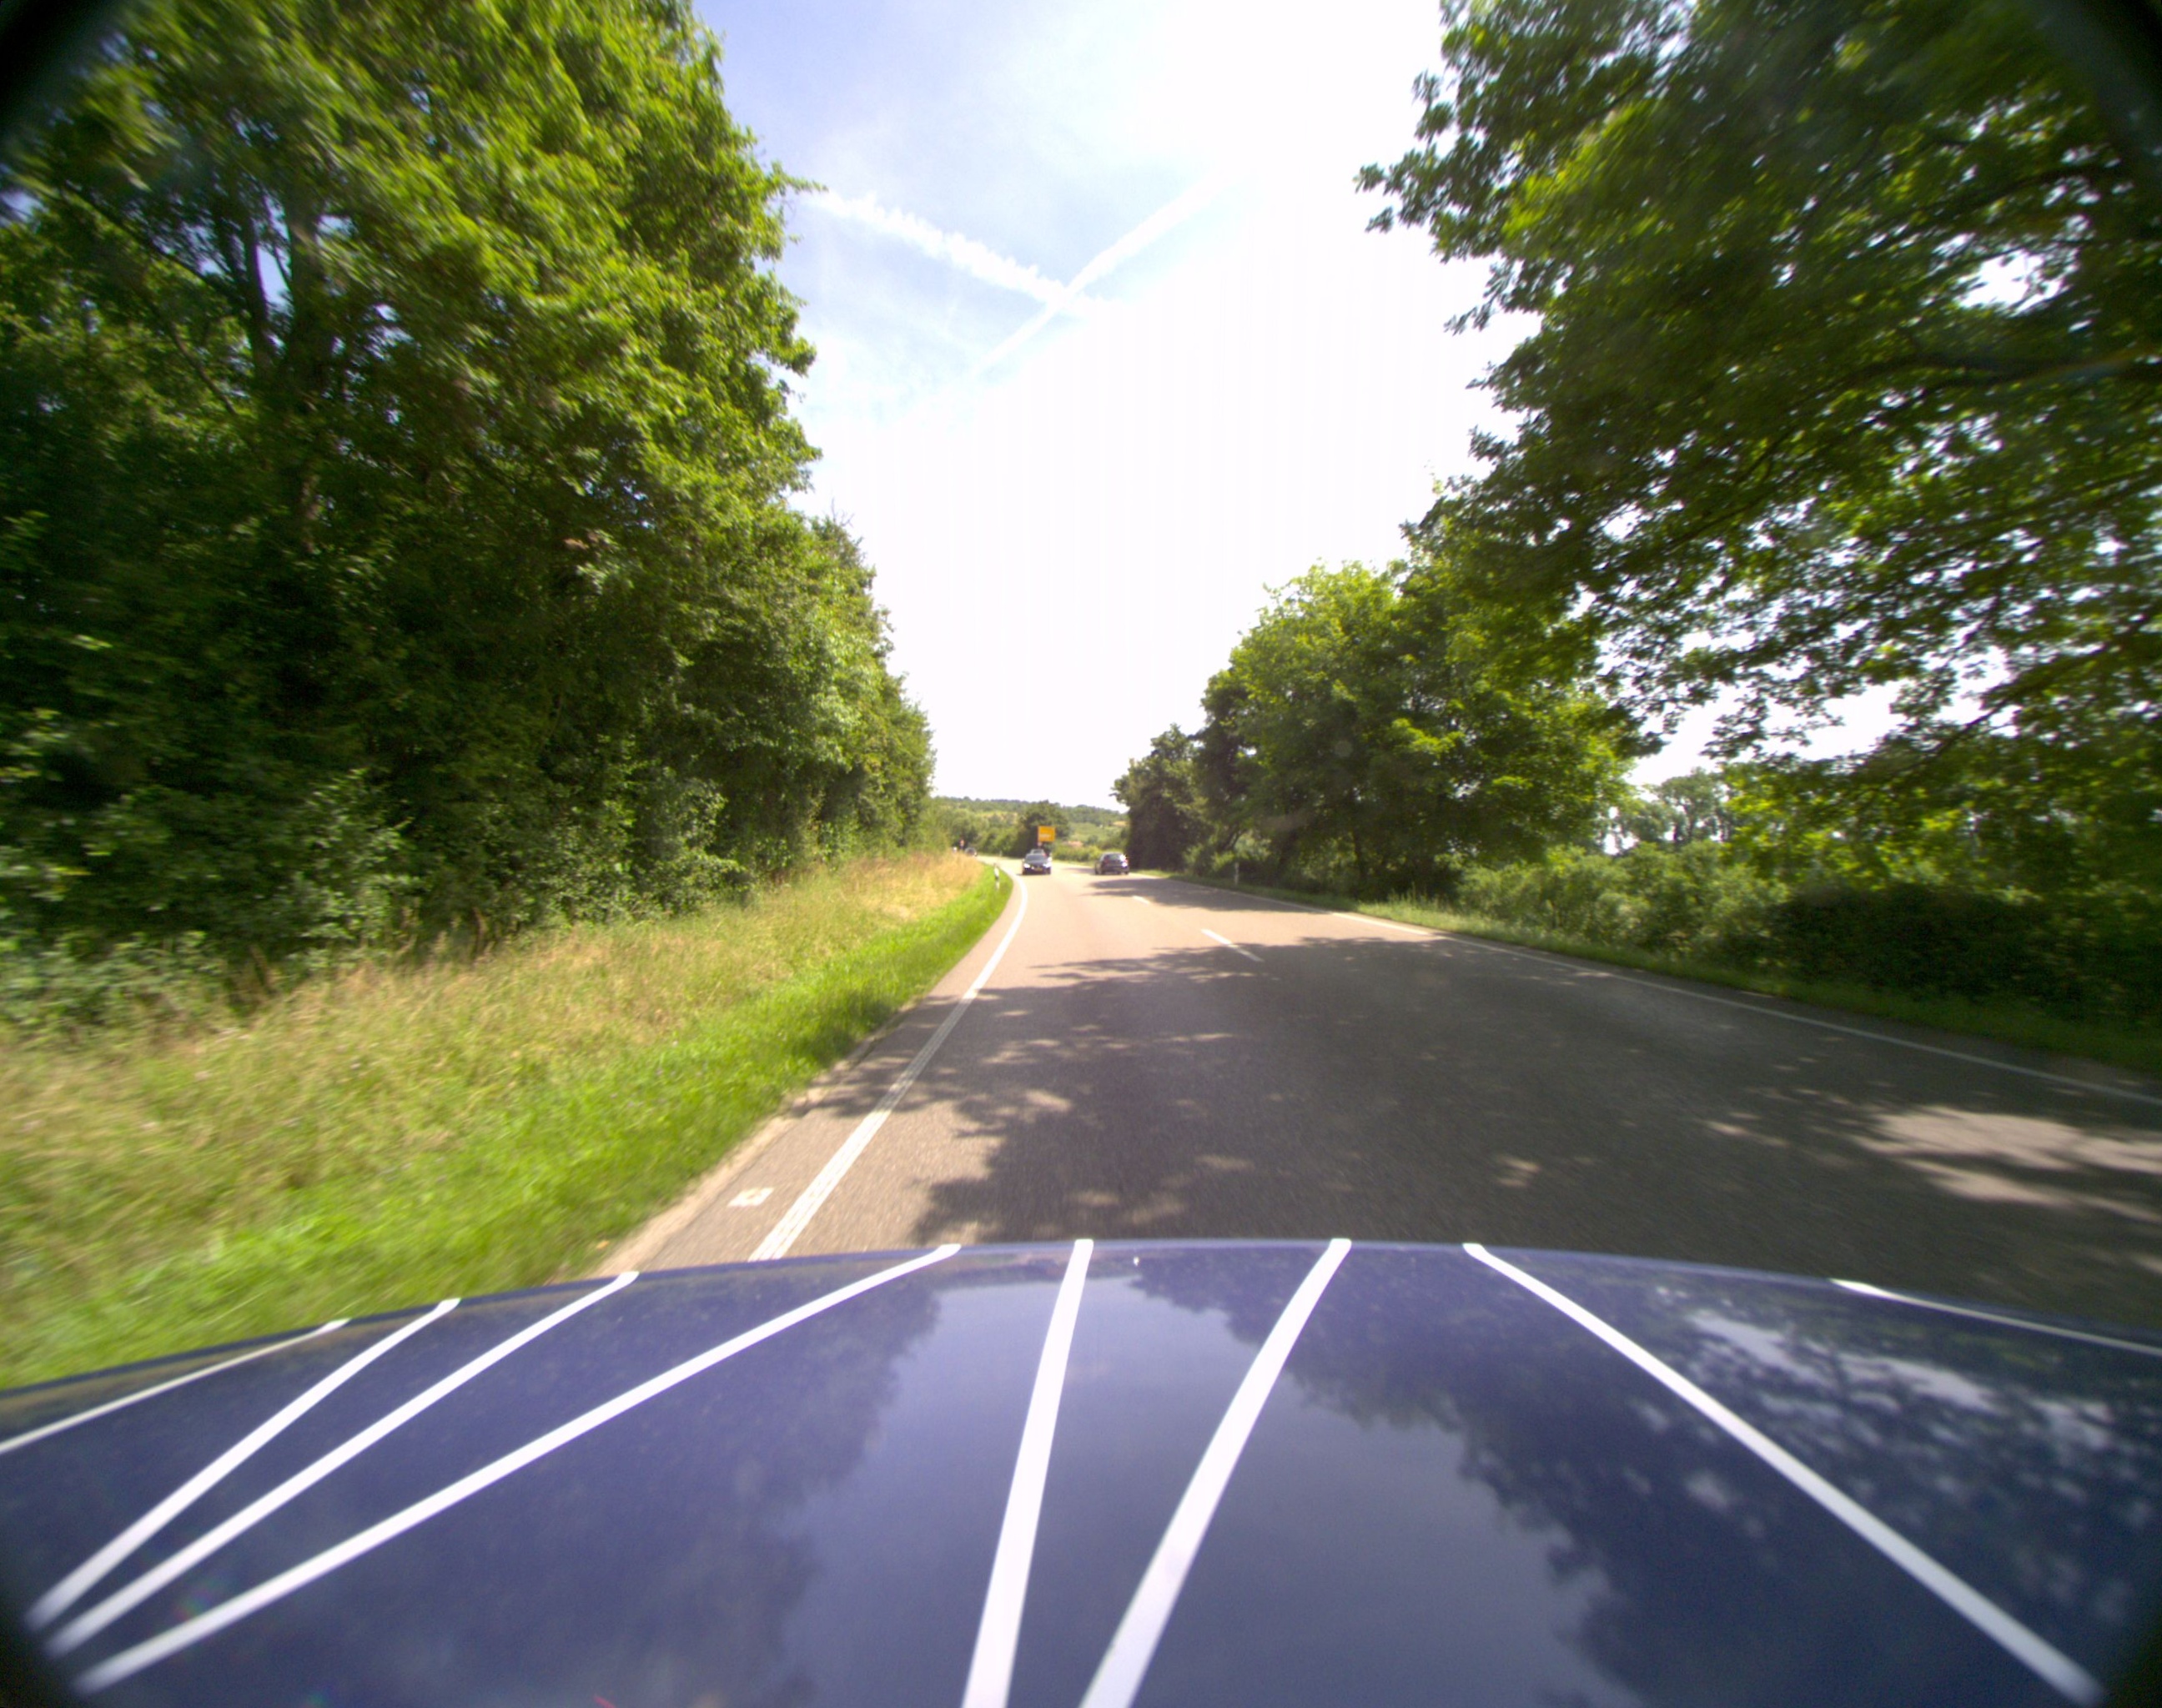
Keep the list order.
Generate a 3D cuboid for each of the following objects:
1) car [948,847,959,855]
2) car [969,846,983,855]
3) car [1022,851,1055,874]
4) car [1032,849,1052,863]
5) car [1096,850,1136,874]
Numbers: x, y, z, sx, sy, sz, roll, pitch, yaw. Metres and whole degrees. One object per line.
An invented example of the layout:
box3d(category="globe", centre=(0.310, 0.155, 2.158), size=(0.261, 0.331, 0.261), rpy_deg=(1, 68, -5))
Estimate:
box3d(category="car", centre=(-24.428, -0.666, 145.939), size=(1.435, 1.462, 3.265), rpy_deg=(-1, 1, -21))
box3d(category="car", centre=(-18.032, -0.538, 130.192), size=(1.716, 1.462, 4.367), rpy_deg=(-1, 1, -18))
box3d(category="car", centre=(-2.973, 0.521, 52.118), size=(1.786, 1.440, 4.600), rpy_deg=(-2, 1, -8))
box3d(category="car", centre=(-4.355, 0.210, 84.390), size=(1.675, 1.522, 3.954), rpy_deg=(-1, 0, -10))
box3d(category="car", centre=(2.158, 0.447, 48.128), size=(1.764, 1.423, 4.266), rpy_deg=(-1, 1, -8))
